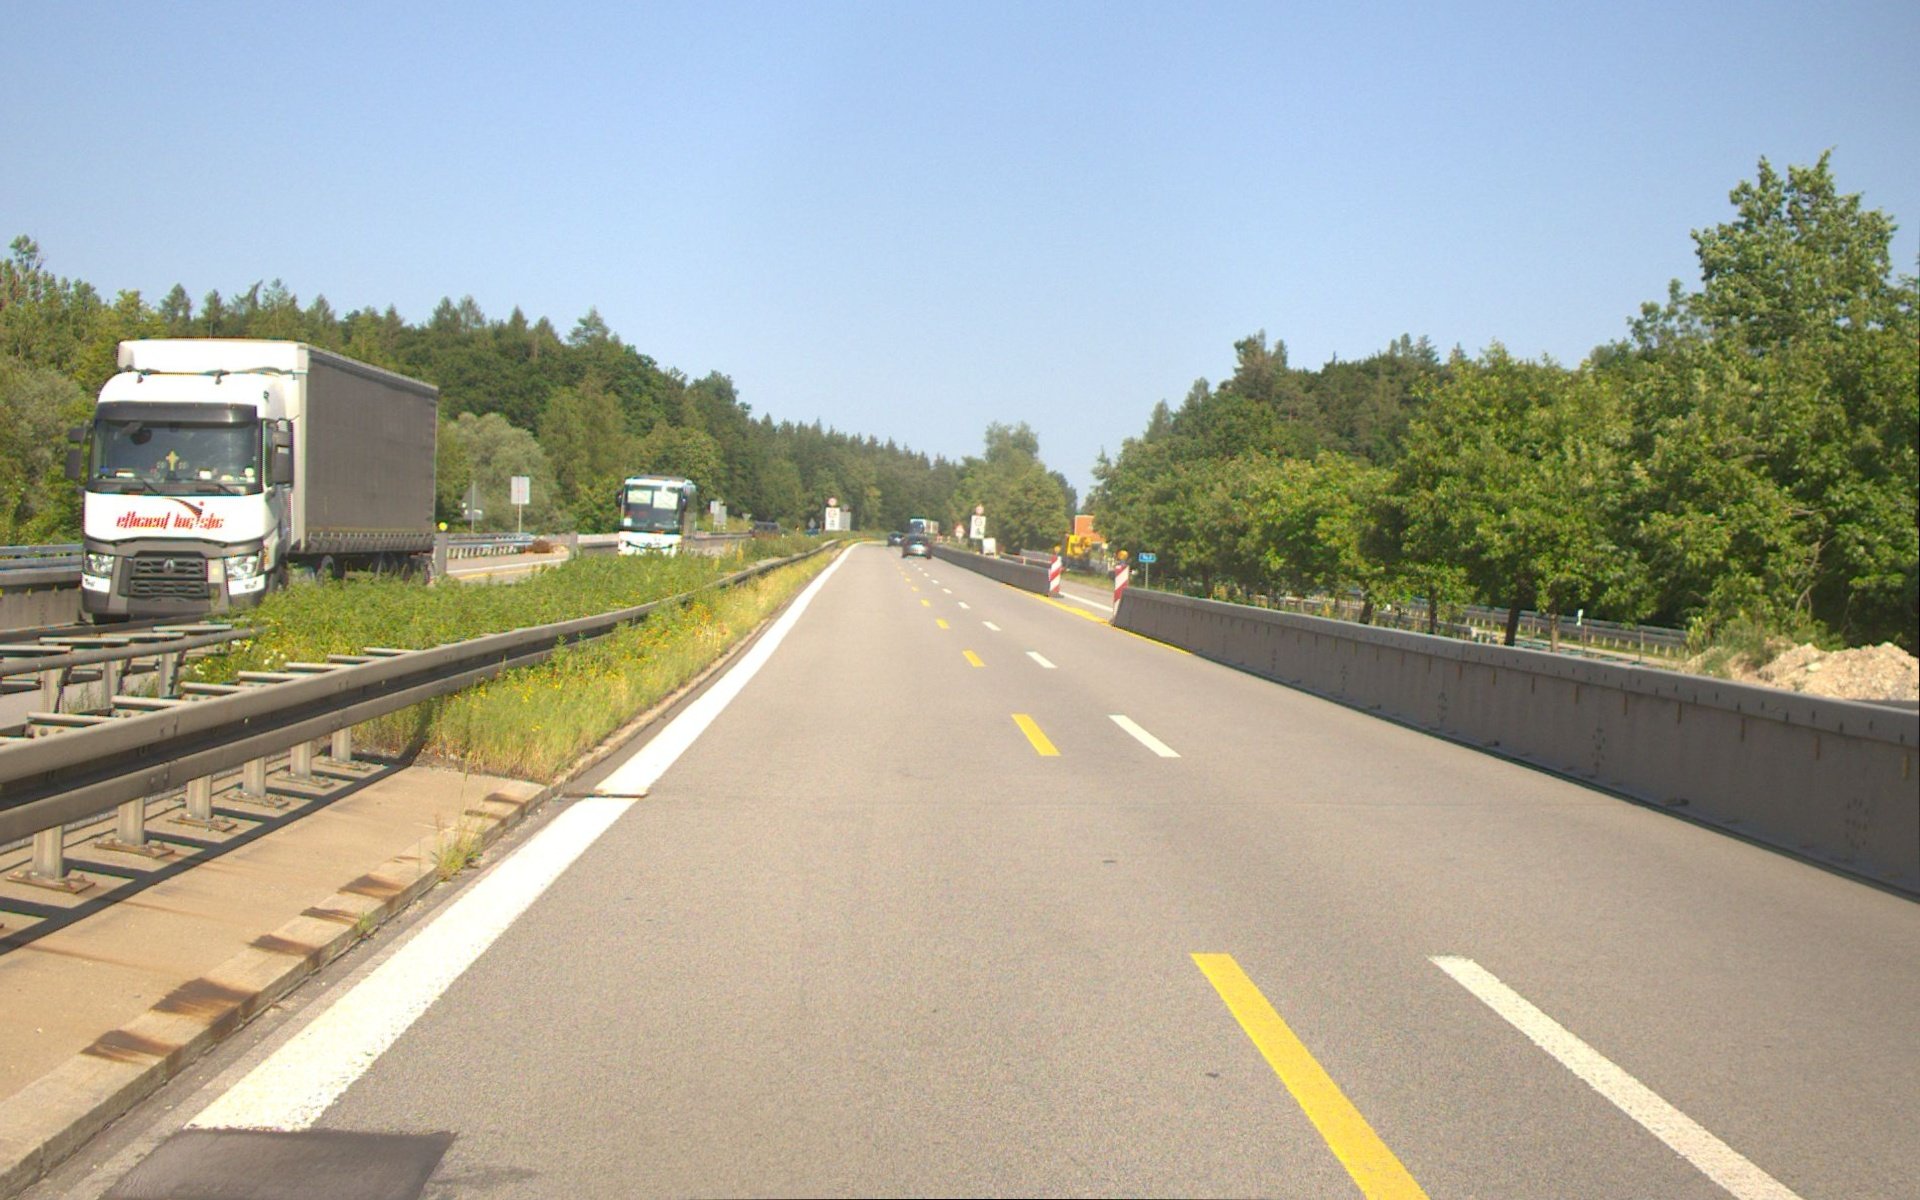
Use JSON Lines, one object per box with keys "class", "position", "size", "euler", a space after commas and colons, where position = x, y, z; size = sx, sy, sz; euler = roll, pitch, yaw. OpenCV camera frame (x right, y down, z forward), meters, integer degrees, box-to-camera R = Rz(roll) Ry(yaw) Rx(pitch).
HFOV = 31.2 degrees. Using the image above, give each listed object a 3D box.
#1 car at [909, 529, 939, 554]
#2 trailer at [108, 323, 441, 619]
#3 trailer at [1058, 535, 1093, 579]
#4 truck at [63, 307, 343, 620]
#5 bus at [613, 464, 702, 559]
{"class": "car", "position": [-2.266, -3.639, 213.431], "size": [1.744, 1.461, 4.294], "euler": [2, 1, -1]}
{"class": "trailer", "position": [-10.509, -1.913, 54.415], "size": [2.741, 4.056, 13.997], "euler": [1, 1, -1]}
{"class": "trailer", "position": [5.218, -1.957, 155.372], "size": [1.125, 1.867, 4.001], "euler": [2, 1, -3]}
{"class": "truck", "position": [-10.410, -1.833, 47.775], "size": [2.770, 4.074, 5.476], "euler": [1, 1, -1]}
{"class": "bus", "position": [-12.552, -3.676, 143.511], "size": [2.881, 3.658, 12.920], "euler": [3, 1, -2]}
